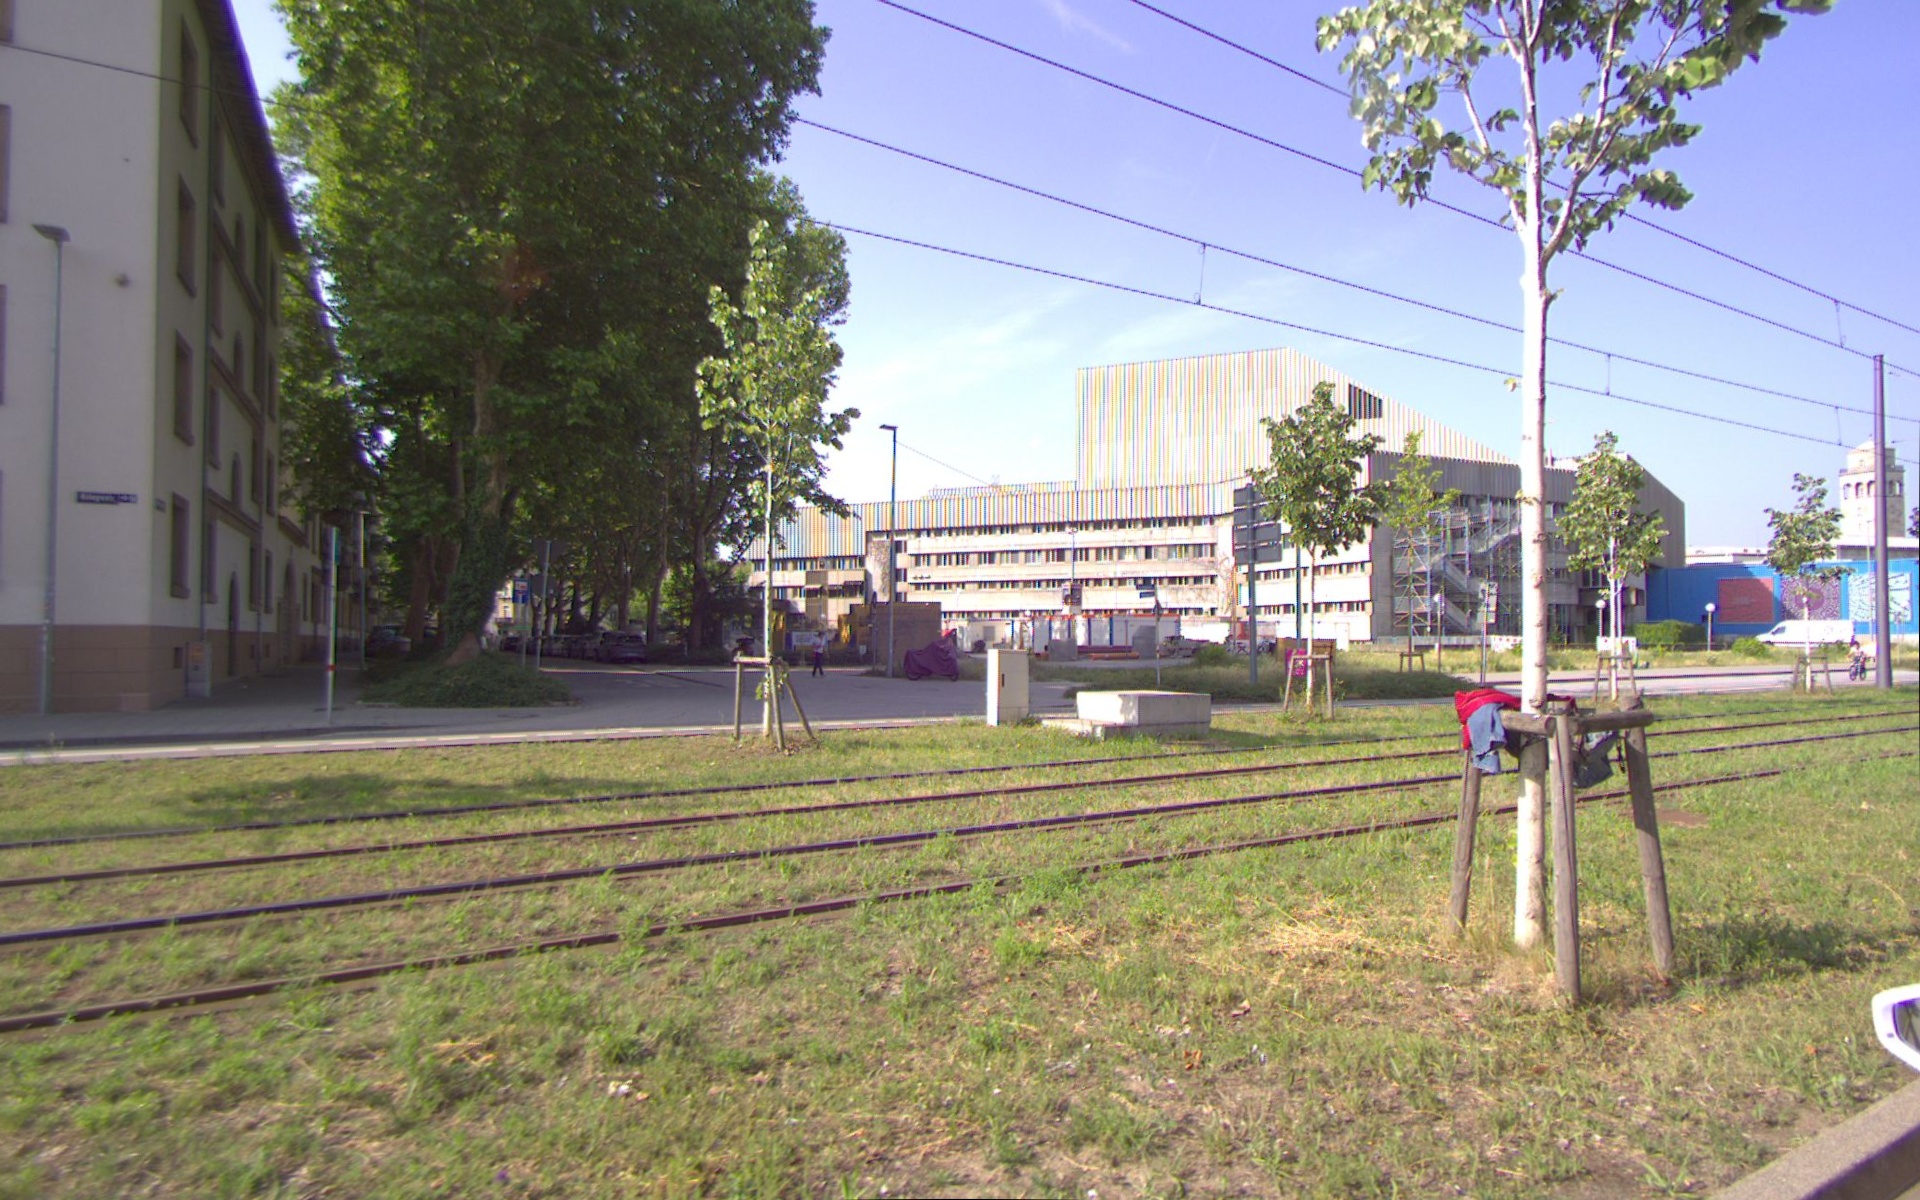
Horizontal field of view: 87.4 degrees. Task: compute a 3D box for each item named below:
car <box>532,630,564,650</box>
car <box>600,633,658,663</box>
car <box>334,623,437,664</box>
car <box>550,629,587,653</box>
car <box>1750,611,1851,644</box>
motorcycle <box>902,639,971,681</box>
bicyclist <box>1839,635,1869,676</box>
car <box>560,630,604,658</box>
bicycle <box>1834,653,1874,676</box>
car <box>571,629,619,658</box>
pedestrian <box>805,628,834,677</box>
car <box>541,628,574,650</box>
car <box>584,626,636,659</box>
[{"bbox_3d":[-31.256,3.040,76.147,1.724,1.496,3.970,1,-2,-29],"label":"car"},{"bbox_3d":[-15.989,2.271,48.423,1.976,1.394,3.970,1,-2,-29],"label":"car"},{"bbox_3d":[-25.803,1.923,45.229,3.953,1.773,1.985,1,-2,-30],"label":"car"},{"bbox_3d":[-26.033,2.708,66.726,1.724,1.496,3.970,1,-2,-29],"label":"car"},{"bbox_3d":[75.248,2.453,90.068,6.794,2.673,2.502,2,0,41],"label":"car"},{"bbox_3d":[-0.801,2.042,34.498,2.253,1.387,0.818,-1,-2,24],"label":"motorcycle"},{"bbox_3d":[38.682,2.414,43.473,0.908,1.758,0.644,2,-4,-29],"label":"bicyclist"},{"bbox_3d":[-23.390,2.701,62.063,1.976,1.628,3.970,1,-2,-29],"label":"car"},{"bbox_3d":[38.697,2.788,43.474,2.053,0.973,0.659,2,-4,-30],"label":"bicycle"},{"bbox_3d":[-20.904,2.462,57.470,1.976,1.628,3.970,1,-2,-29],"label":"car"},{"bbox_3d":[-4.916,1.820,35.141,0.727,1.699,0.673,-2,-2,45],"label":"pedestrian"},{"bbox_3d":[-28.774,2.790,71.700,1.724,1.496,3.970,1,-2,-29],"label":"car"},{"bbox_3d":[-18.398,2.217,52.705,1.976,1.628,3.970,1,-2,-29],"label":"car"}]
